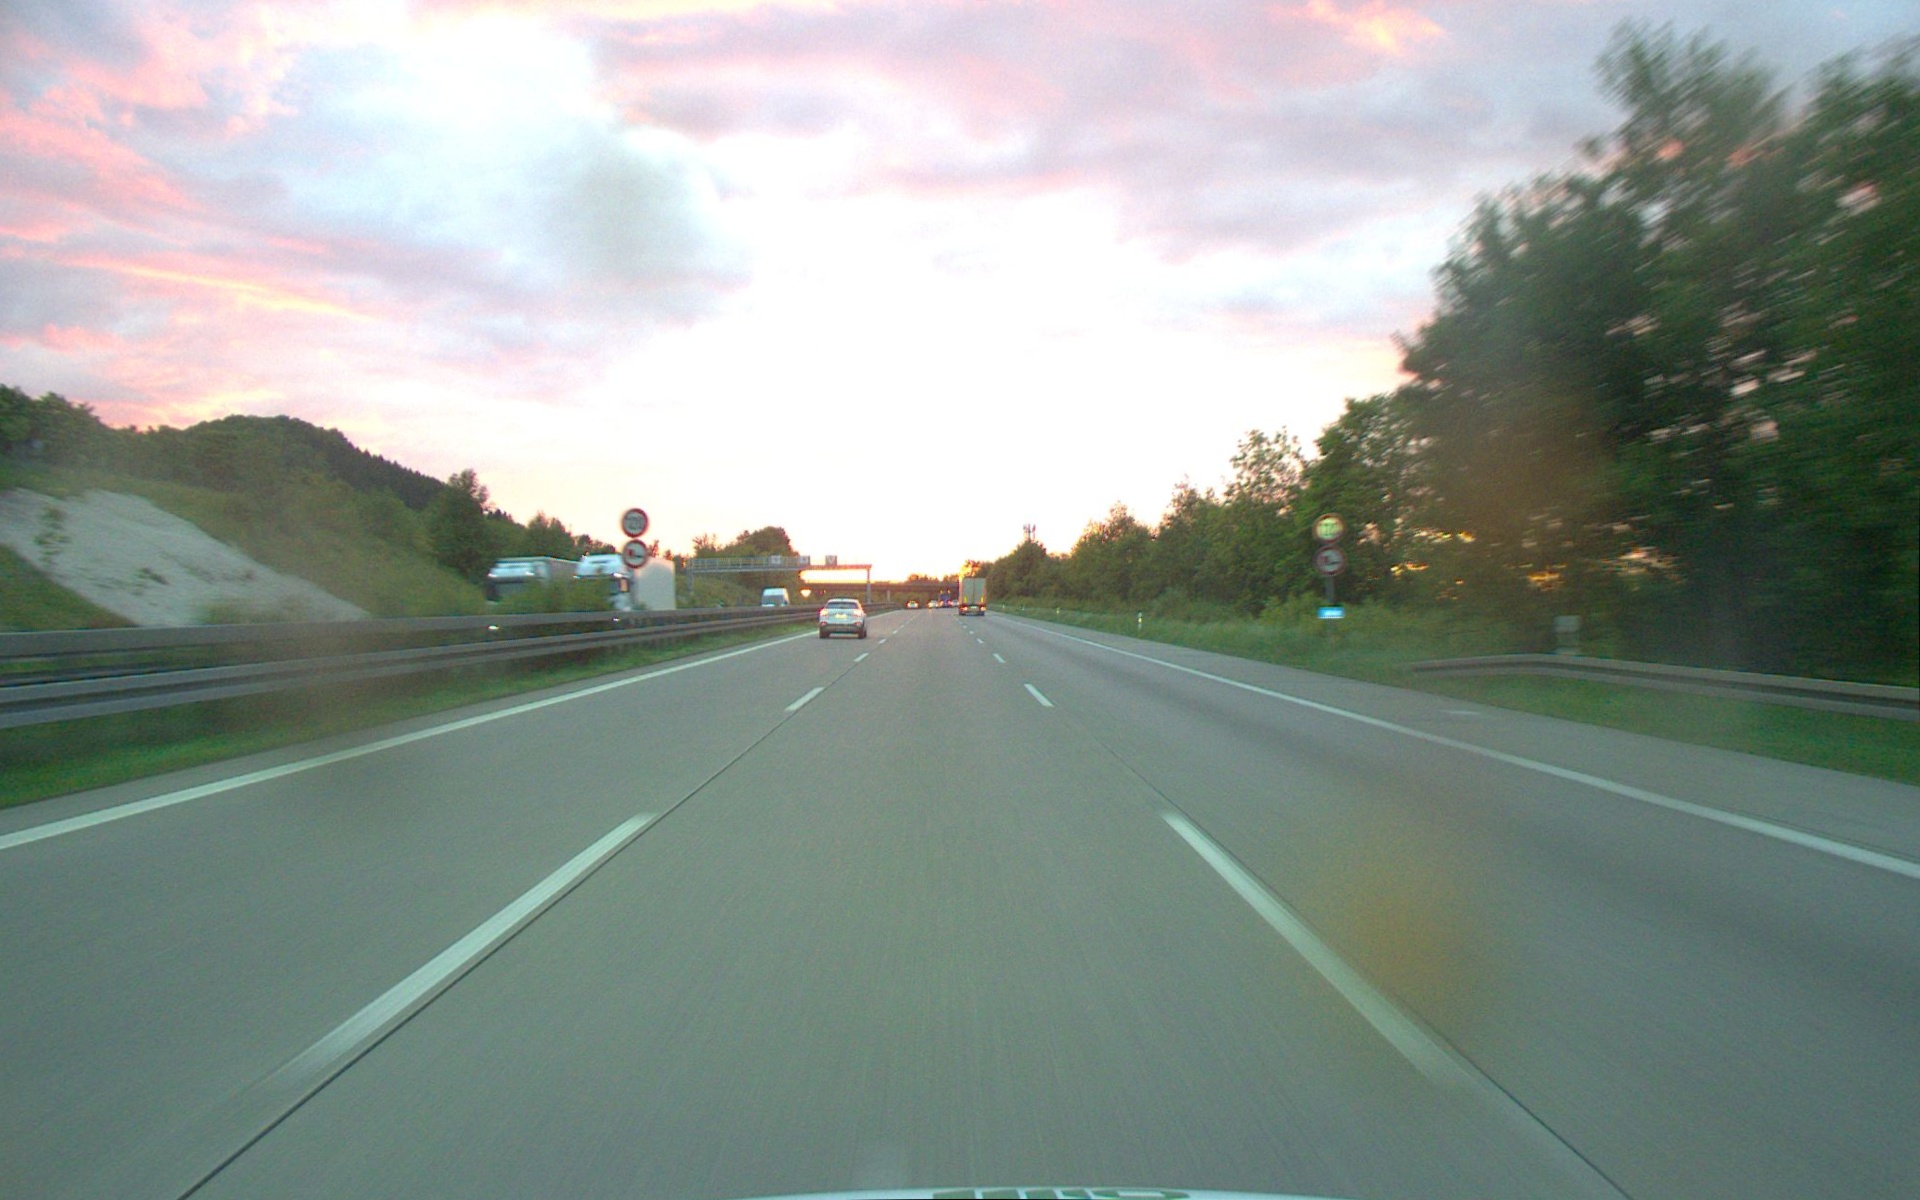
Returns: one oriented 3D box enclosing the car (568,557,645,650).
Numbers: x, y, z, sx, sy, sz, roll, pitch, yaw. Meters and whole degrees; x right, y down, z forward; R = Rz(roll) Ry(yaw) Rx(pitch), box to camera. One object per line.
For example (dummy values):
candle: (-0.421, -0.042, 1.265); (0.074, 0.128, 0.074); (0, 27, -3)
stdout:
car: (-17.914, 0.182, 84.121); (2.741, 4.566, 5.928); (0, 0, -1)

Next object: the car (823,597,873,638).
car: (-4.456, 0.668, 66.335); (1.753, 1.527, 5.036); (1, 0, -1)

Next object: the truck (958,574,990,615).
truck: (1.531, -0.533, 173.755); (3.177, 4.199, 9.787); (-1, 0, 1)

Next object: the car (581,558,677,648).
car: (-18.020, 0.177, 91.011); (2.741, 4.566, 13.907); (0, 0, -1)

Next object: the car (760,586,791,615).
car: (-15.231, 0.044, 137.041); (1.953, 2.327, 6.338); (0, 0, -1)

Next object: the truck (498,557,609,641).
truck: (-22.248, -0.041, 91.459); (2.836, 4.284, 13.599); (0, 0, 0)

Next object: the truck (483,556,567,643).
truck: (-22.207, -0.034, 84.749); (2.798, 4.284, 5.863); (0, 0, -1)
